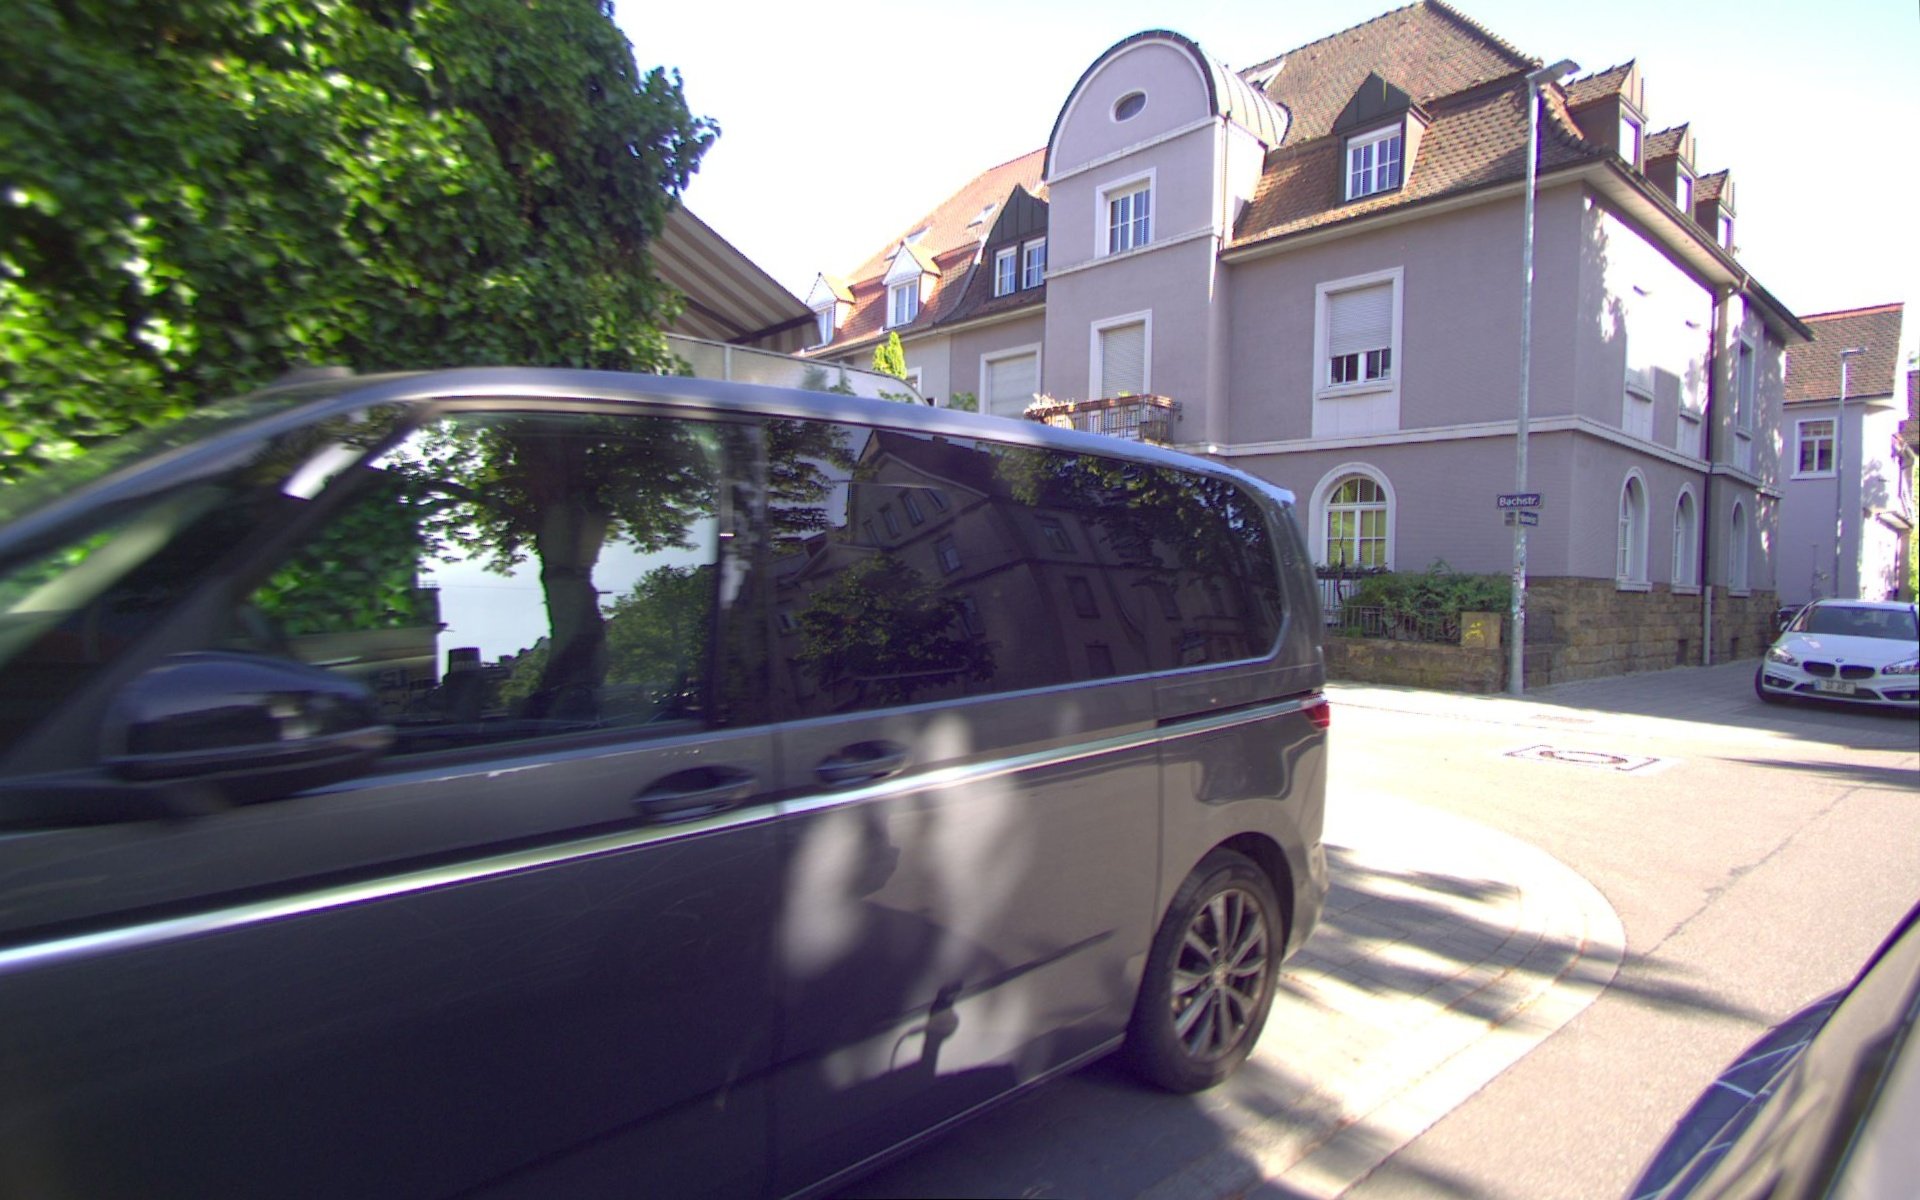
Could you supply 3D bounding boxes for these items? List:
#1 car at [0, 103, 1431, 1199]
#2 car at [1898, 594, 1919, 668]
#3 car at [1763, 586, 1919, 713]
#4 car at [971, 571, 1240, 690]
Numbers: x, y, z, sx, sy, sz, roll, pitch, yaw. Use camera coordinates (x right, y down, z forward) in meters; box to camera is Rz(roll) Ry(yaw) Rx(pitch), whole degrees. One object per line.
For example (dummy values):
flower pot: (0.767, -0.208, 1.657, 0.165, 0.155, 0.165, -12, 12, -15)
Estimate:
car: (-0.816, 0.358, 2.649, 4.765, 1.932, 1.856, 0, 2, -41)
car: (22.245, 0.666, 22.285, 4.086, 1.558, 1.821, 0, 0, -40)
car: (13.309, 0.626, 14.882, 4.038, 1.574, 1.811, 0, 2, -44)
car: (2.108, 0.384, 15.457, 1.715, 1.474, 3.799, 2, 1, -42)
